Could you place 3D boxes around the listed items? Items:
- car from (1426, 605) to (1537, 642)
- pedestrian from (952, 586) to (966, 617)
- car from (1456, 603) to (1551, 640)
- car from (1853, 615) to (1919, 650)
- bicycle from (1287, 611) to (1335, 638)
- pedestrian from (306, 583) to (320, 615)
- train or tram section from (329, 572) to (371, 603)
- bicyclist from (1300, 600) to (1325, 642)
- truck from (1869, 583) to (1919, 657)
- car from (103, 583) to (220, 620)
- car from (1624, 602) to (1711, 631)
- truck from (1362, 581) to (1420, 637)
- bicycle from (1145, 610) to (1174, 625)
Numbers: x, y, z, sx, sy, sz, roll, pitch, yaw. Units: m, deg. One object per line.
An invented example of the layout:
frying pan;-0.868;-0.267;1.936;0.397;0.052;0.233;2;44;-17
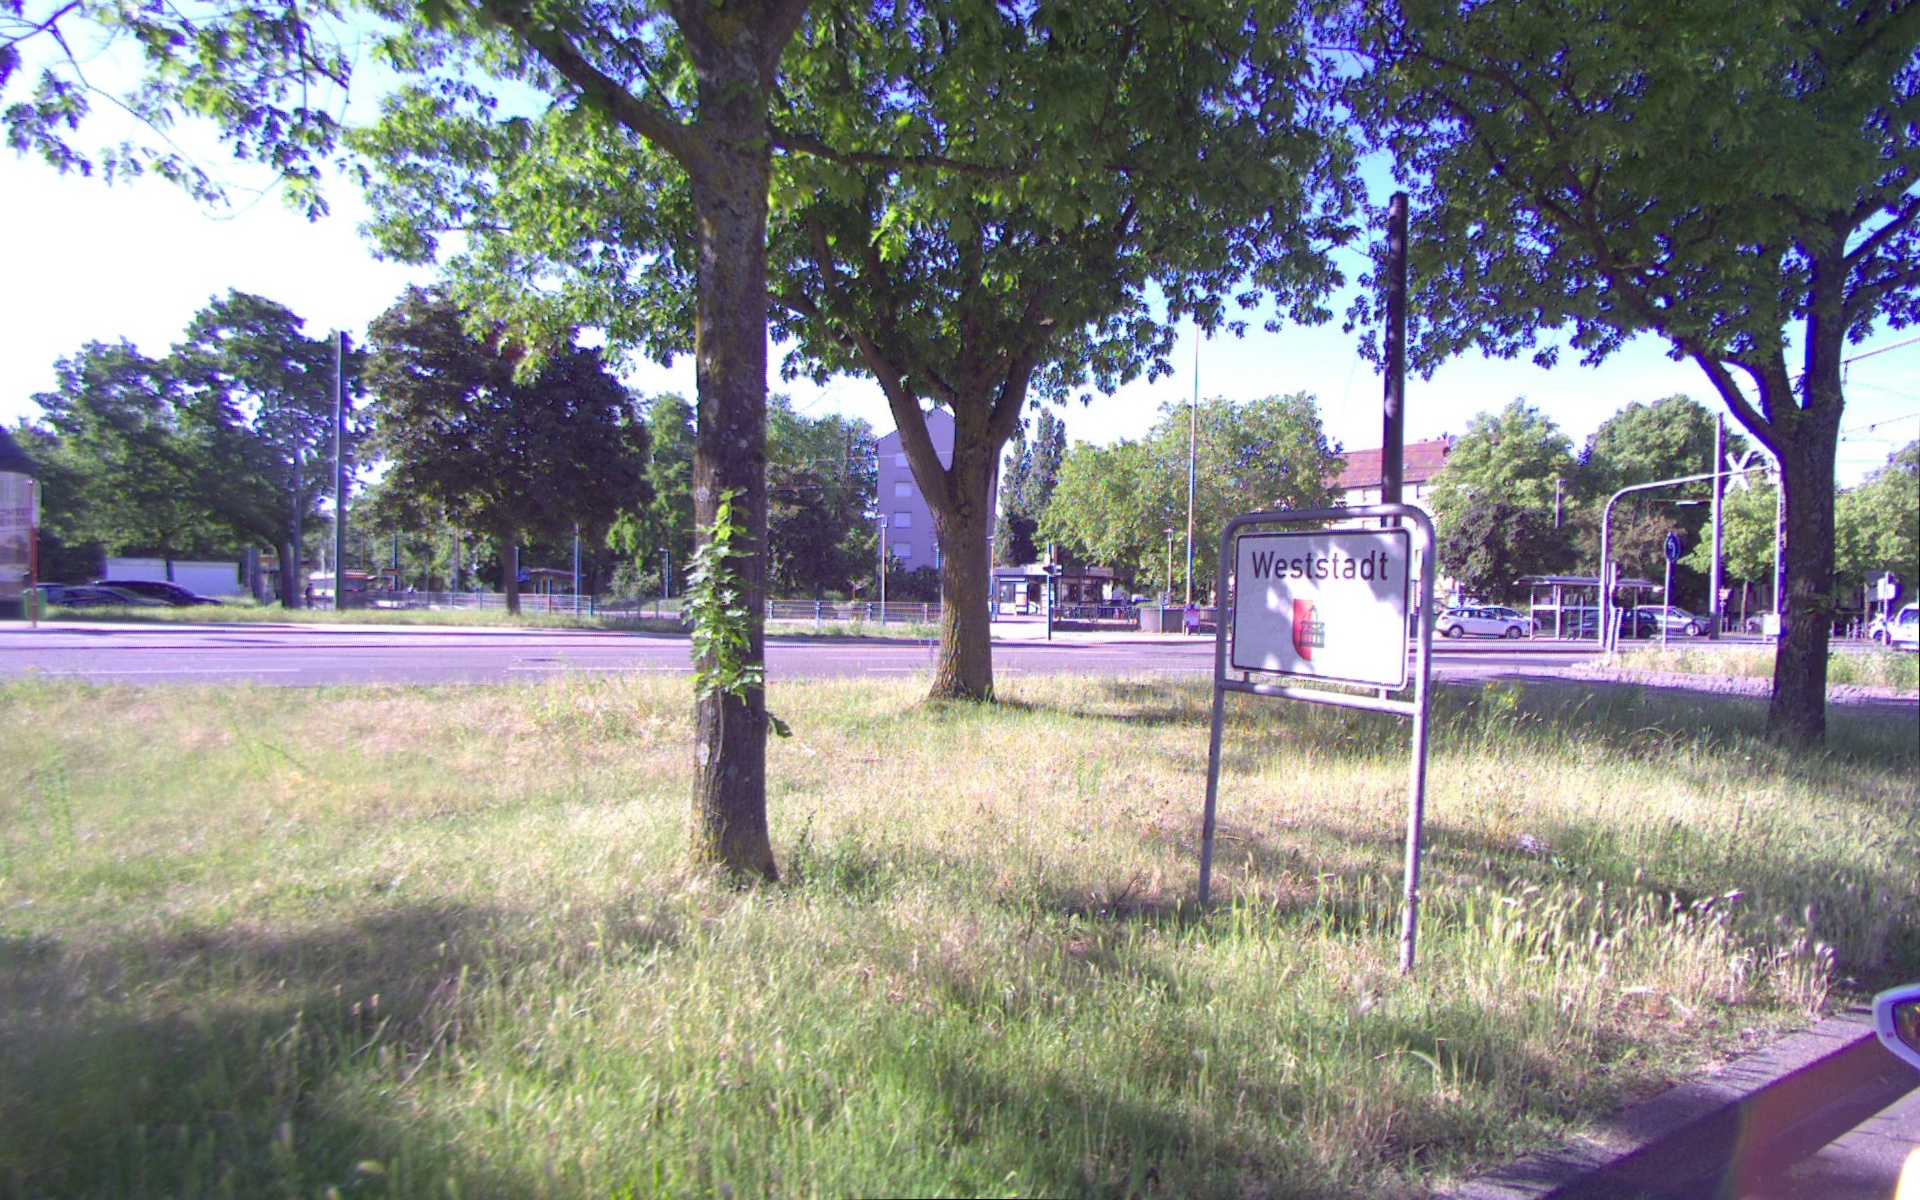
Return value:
car;25.597;1.112;49.476;4.457;1.565;1.873;1;3;12
pedestrian;-0.070;0.087;60.579;0.714;1.854;0.558;1;1;-10
car;27.954;1.104;51.743;3.923;1.741;1.762;1;3;-4
car;46.936;1.622;49.481;1.965;1.593;3.991;1;0;-12
bicycle;13.434;0.938;38.470;1.629;1.015;0.613;0;2;-11
pedestrian;-38.796;-0.074;60.231;0.580;1.880;0.632;1;1;-42
train or tram section;-64.551;-1.353;106.092;2.445;2.979;19.645;1;0;-35
bicyclist;13.500;0.796;38.487;0.664;1.551;0.613;0;2;-11
truck;33.766;0.713;34.479;4.040;2.459;1.789;1;0;-14
car;-35.731;0.078;44.991;3.970;1.588;1.975;1;1;-42
car;41.923;0.968;59.559;1.987;1.593;3.947;1;0;-44
truck;24.263;0.451;56.724;1.959;3.035;4.831;1;1;11
bicycle;11.974;1.024;60.220;1.652;0.850;0.548;1;1;16
